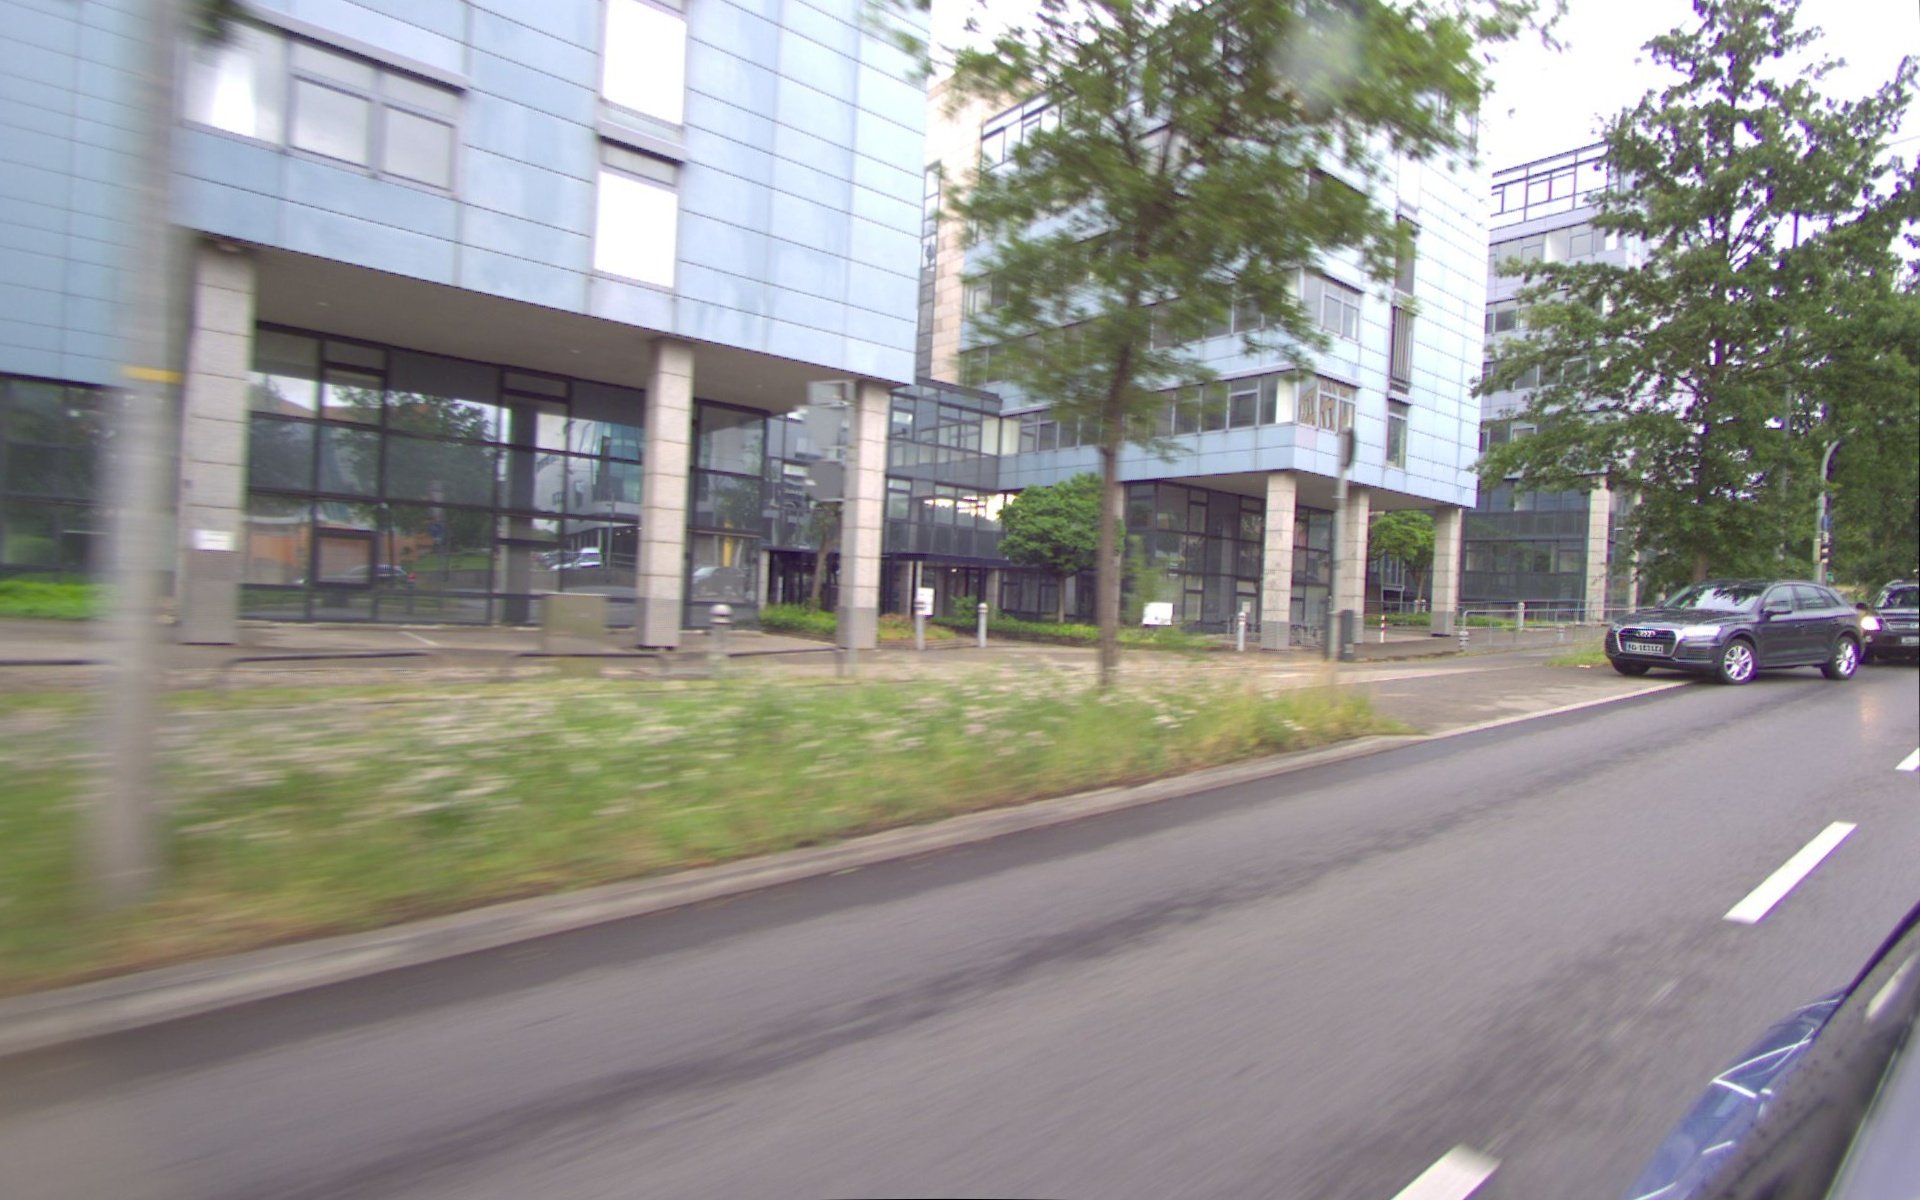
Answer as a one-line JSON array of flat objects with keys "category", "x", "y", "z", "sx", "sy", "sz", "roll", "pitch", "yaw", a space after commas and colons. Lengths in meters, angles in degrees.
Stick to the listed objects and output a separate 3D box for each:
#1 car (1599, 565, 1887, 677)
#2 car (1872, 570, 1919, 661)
[{"category": "car", "x": 13.015, "y": 0.302, "z": 16.831, "sx": 4.278, "sy": 1.691, "sz": 1.821, "roll": 0, "pitch": 1, "yaw": -21}, {"category": "car", "x": 19.761, "y": 0.283, "z": 20.190, "sx": 4.469, "sy": 1.691, "sz": 1.814, "roll": 0, "pitch": 1, "yaw": -41}]
